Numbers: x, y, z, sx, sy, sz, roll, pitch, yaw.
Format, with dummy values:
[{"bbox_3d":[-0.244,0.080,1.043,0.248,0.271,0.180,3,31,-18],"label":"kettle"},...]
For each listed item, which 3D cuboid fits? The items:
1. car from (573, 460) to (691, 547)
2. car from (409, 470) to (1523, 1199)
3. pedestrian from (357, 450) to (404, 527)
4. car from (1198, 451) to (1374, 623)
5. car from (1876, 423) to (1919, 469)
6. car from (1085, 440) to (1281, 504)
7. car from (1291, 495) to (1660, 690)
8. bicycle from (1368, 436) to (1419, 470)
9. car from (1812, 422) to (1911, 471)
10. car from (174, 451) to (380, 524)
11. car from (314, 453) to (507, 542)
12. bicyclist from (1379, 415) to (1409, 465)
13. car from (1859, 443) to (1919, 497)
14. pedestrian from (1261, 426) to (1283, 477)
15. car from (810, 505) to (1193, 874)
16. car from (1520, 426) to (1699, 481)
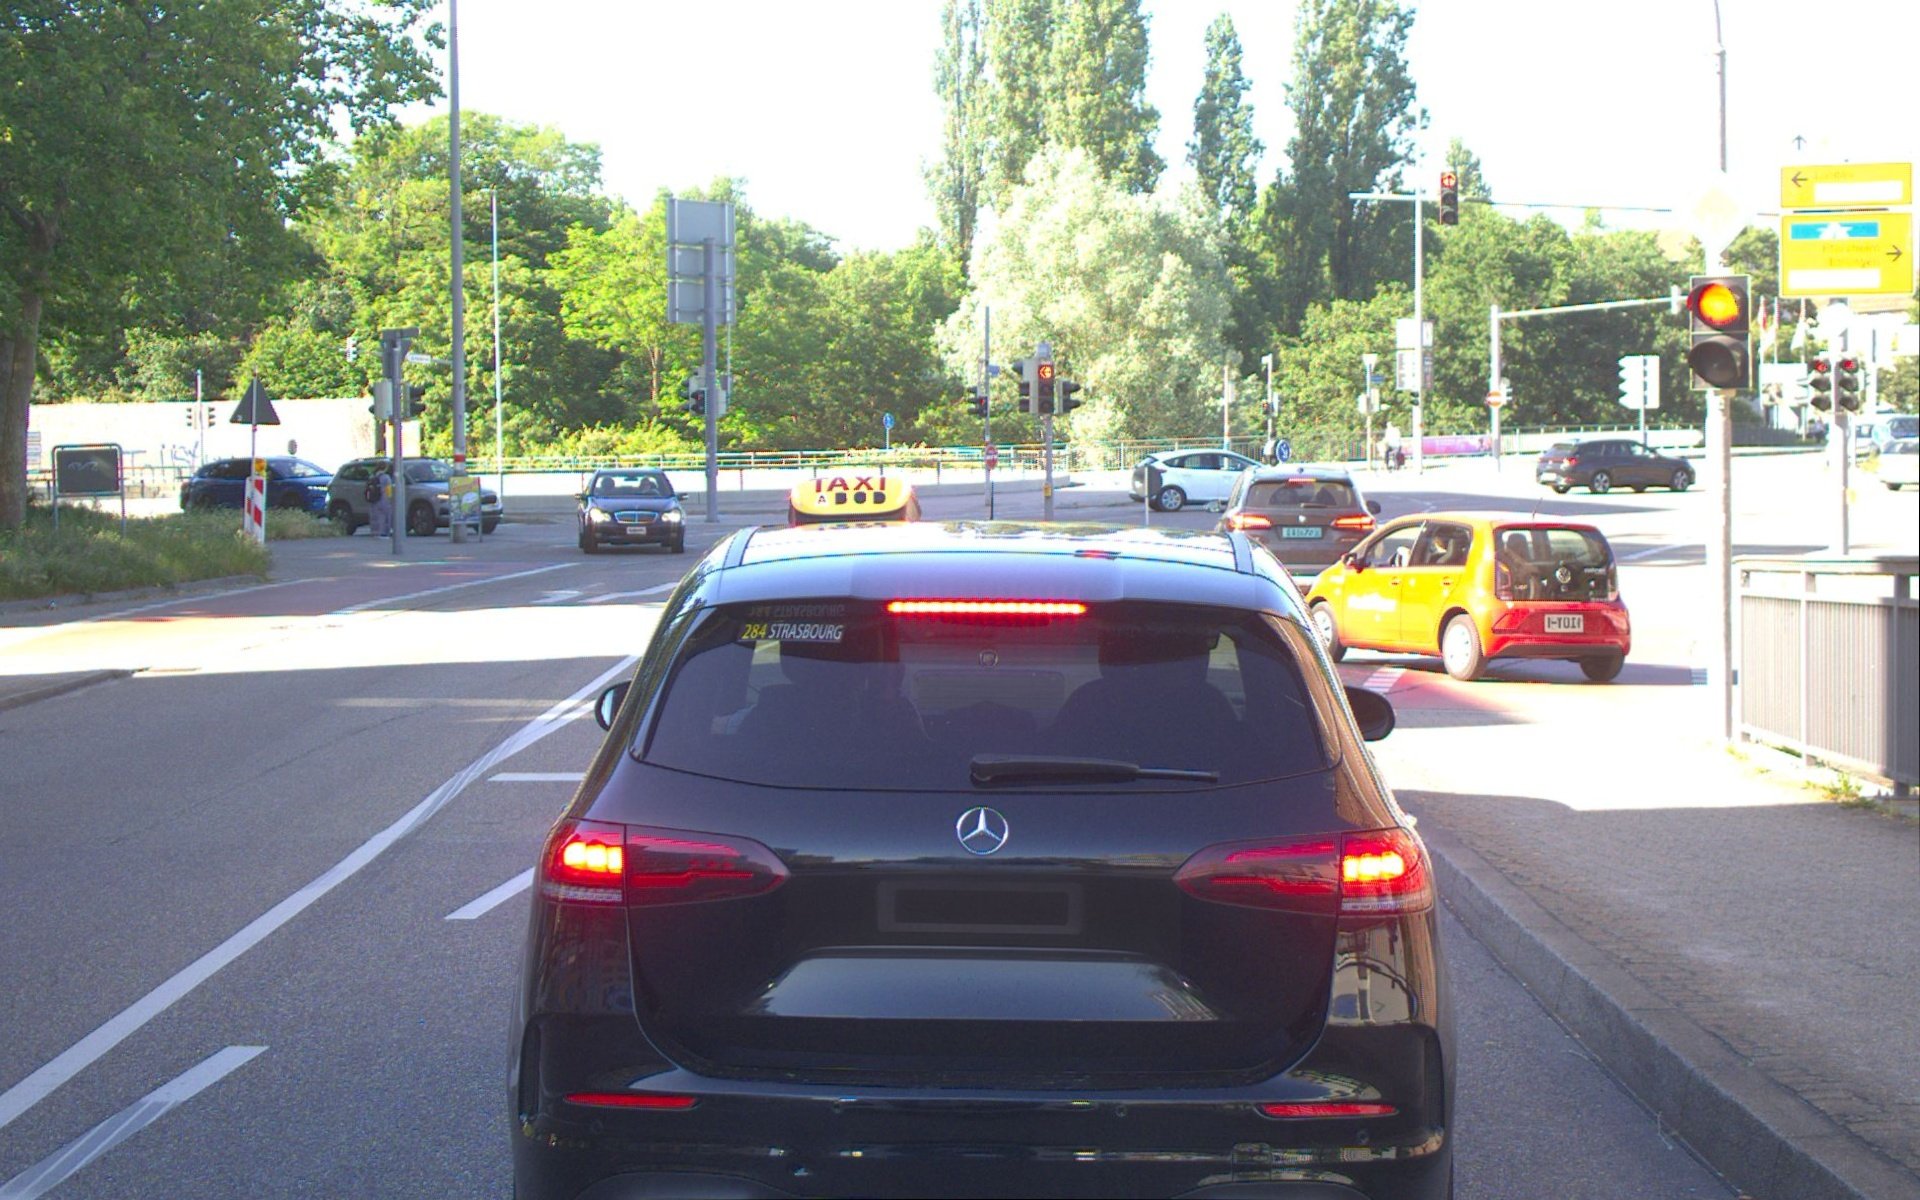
[{"bbox_3d":[-5.738,-1.708,59.864,1.741,1.402,4.202,-1,3,-9],"label":"car"},{"bbox_3d":[-0.015,0.540,7.848,1.878,1.608,4.000,1,2,-1],"label":"car"},{"bbox_3d":[-11.467,-2.204,67.997,0.705,1.520,0.743,1,2,10],"label":"pedestrian"},{"bbox_3d":[3.933,-0.824,42.089,1.721,1.805,4.298,2,4,1],"label":"car"},{"bbox_3d":[33.570,-5.380,119.824,1.882,1.573,3.992,1,3,36],"label":"car"},{"bbox_3d":[5.216,-3.021,80.732,4.299,1.360,2.001,-2,3,-6],"label":"car"},{"bbox_3d":[4.617,-0.123,31.236,1.721,1.516,3.487,-2,4,-24],"label":"car"},{"bbox_3d":[13.797,-4.674,109.323,0.527,1.046,1.985,0,3,42],"label":"bicycle"},{"bbox_3d":[30.080,-5.115,114.670,1.882,1.573,3.992,1,3,36],"label":"car"},{"bbox_3d":[-15.657,-2.593,78.755,4.396,1.586,1.919,1,4,28],"label":"car"},{"bbox_3d":[-11.423,-2.152,71.337,3.997,1.617,1.806,6,5,41],"label":"car"},{"bbox_3d":[13.797,-5.082,109.295,0.527,1.545,0.805,0,3,42],"label":"bicyclist"},{"bbox_3d":[25.656,-3.443,90.039,4.583,1.290,1.999,-5,5,-44],"label":"car"},{"bbox_3d":[9.750,-4.642,107.375,0.451,1.580,0.500,1,3,40],"label":"pedestrian"},{"bbox_3d":[0.232,0.345,16.734,1.640,1.524,3.474,-1,2,2],"label":"car"},{"bbox_3d":[17.091,-3.871,90.373,4.580,1.290,1.886,-4,4,-33],"label":"car"}]
